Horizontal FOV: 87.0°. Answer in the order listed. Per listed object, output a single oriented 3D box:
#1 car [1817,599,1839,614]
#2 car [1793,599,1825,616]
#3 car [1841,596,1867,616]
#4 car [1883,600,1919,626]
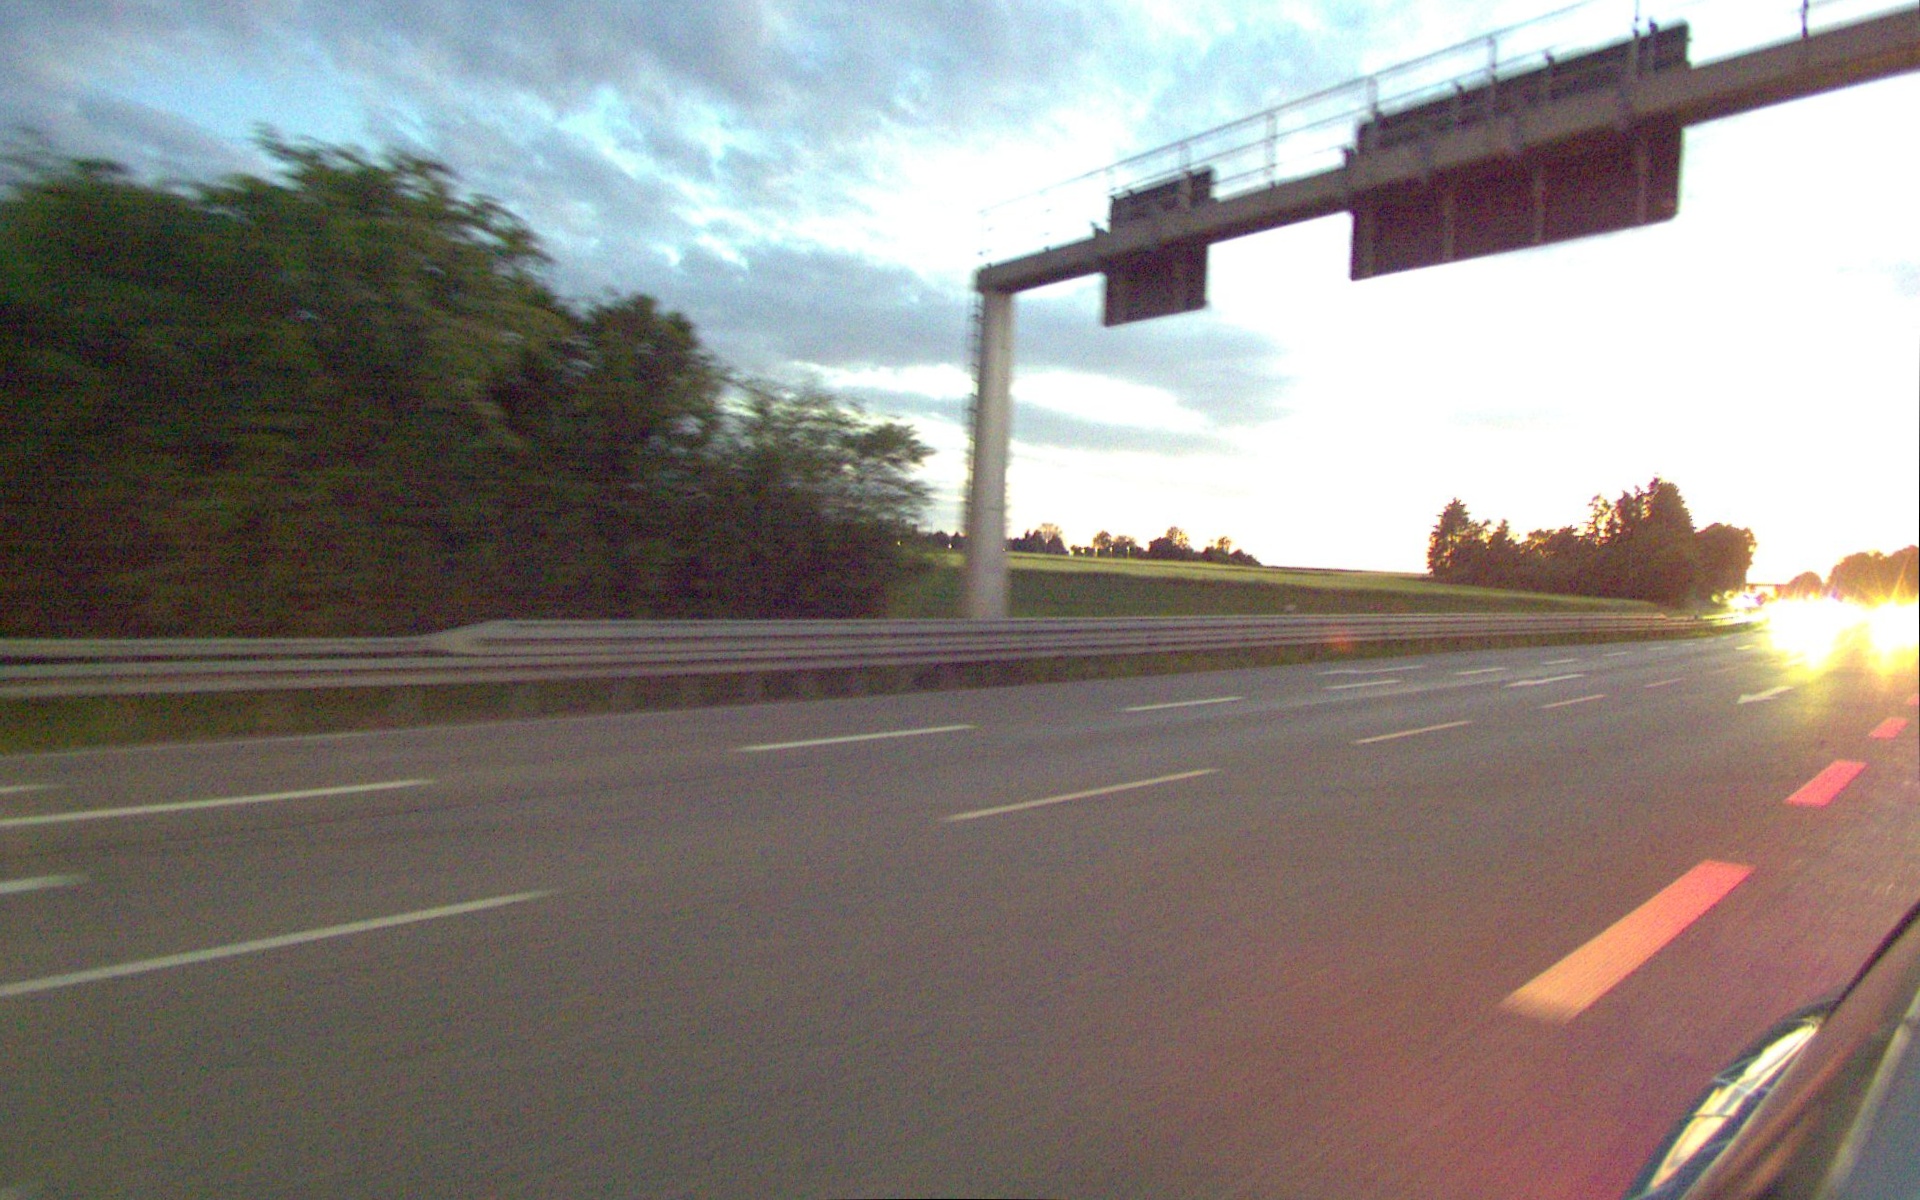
[{"bbox_3d":[101.436,0.753,118.282,1.825,1.772,3.795,0,-1,40],"label":"car"},{"bbox_3d":[79.954,0.710,95.282,1.994,1.604,3.935,0,0,45],"label":"car"},{"bbox_3d":[93.349,0.629,105.701,1.857,2.039,3.936,0,0,44],"label":"car"},{"bbox_3d":[55.053,0.768,58.924,1.749,1.474,3.748,0,-1,40],"label":"car"}]
